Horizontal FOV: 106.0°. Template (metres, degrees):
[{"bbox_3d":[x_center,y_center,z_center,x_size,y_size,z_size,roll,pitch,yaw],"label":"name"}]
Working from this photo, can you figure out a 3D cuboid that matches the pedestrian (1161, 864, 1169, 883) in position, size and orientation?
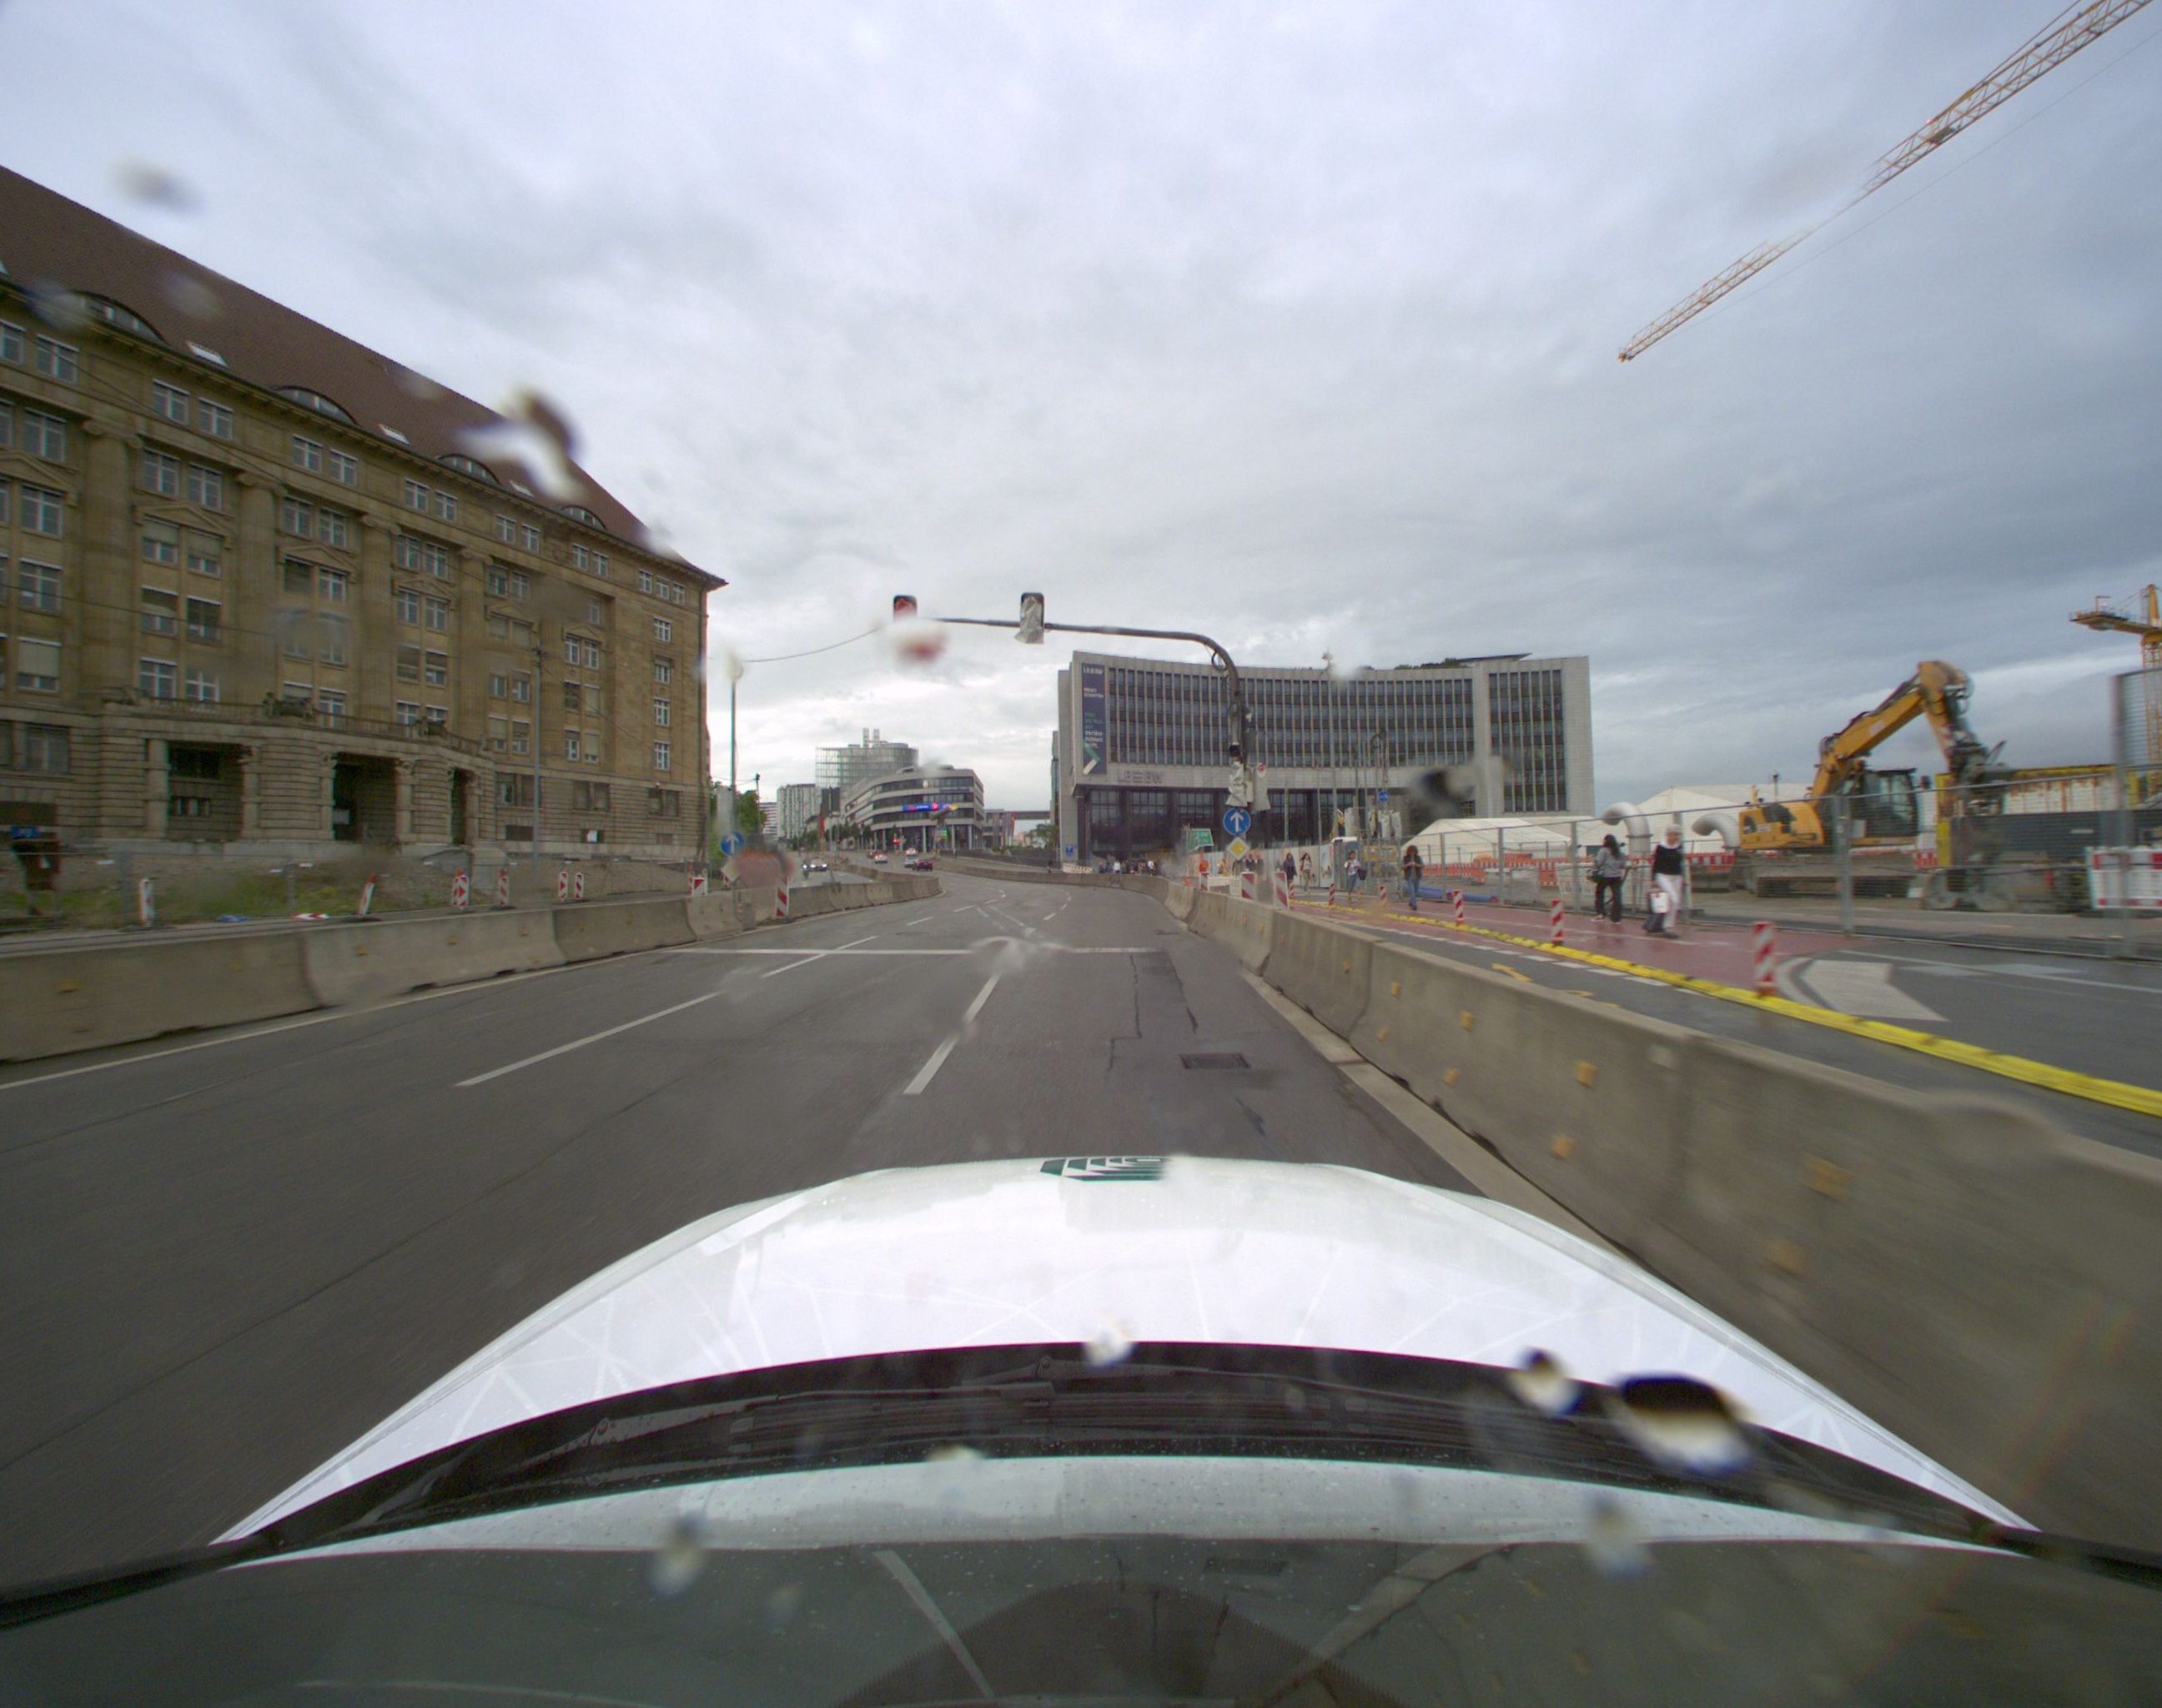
[{"bbox_3d":[7.619,1.766,73.825,0.623,1.705,0.646,-1,-1,-1],"label":"pedestrian"}]

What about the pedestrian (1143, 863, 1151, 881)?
[{"bbox_3d":[6.312,1.706,78.268,0.515,1.705,0.568,0,-1,-37],"label":"pedestrian"}]

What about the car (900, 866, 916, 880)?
[{"bbox_3d":[-24.056,2.671,113.192,1.744,1.876,3.753,-1,-1,-18],"label":"car"}]

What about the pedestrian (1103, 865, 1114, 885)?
[{"bbox_3d":[2.190,1.672,65.207,0.659,1.642,0.820,-1,-1,-12],"label":"pedestrian"}]

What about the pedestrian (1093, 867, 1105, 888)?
[{"bbox_3d":[1.458,1.866,65.067,0.751,1.642,0.820,-1,-1,-12],"label":"pedestrian"}]

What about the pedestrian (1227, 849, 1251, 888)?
[{"bbox_3d":[7.542,0.702,38.954,0.817,1.828,1.110,-2,-2,-2],"label":"pedestrian"}]

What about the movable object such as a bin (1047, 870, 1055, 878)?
[{"bbox_3d":[-3.287,2.222,89.546,0.600,0.934,0.737,0,-2,-21],"label":"movable object such as a bin"}]

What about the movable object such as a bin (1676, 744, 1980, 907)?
[{"bbox_3d":[18.210,-0.580,20.388,3.900,3.492,4.372,-2,-1,14],"label":"movable object such as a bin"}]

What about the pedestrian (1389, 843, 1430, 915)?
[{"bbox_3d":[8.706,0.658,21.593,0.688,1.862,0.810,-1,-1,-3],"label":"pedestrian"}]

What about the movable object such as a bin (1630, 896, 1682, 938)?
[{"bbox_3d":[9.220,1.003,13.070,0.432,0.624,0.534,-1,-1,-3],"label":"movable object such as a bin"}]

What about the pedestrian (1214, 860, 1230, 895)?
[{"bbox_3d":[7.755,1.295,44.833,0.730,1.854,0.831,-1,-2,-1],"label":"pedestrian"}]

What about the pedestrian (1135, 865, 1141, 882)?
[{"bbox_3d":[5.609,1.931,79.951,0.445,1.705,0.648,-1,-1,9],"label":"pedestrian"}]

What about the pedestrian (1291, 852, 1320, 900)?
[{"bbox_3d":[8.967,0.886,32.556,0.777,1.862,1.057,-1,-1,-3],"label":"pedestrian"}]

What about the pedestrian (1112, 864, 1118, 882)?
[{"bbox_3d":[3.265,1.795,78.664,0.447,1.705,0.646,-1,-1,-4],"label":"pedestrian"}]

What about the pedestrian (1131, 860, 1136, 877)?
[{"bbox_3d":[5.148,1.442,80.047,0.445,1.705,0.648,-1,-1,9],"label":"pedestrian"}]

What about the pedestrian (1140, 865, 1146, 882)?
[{"bbox_3d":[6.050,1.914,79.630,0.445,1.705,0.648,-1,-1,9],"label":"pedestrian"}]

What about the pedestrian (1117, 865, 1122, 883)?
[{"bbox_3d":[3.732,1.947,78.712,0.447,1.705,0.646,-1,-1,-4],"label":"pedestrian"}]

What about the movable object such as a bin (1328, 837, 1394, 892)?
[{"bbox_3d":[21.467,0.835,62.543,3.099,4.030,3.669,0,-2,-22],"label":"movable object such as a bin"}]

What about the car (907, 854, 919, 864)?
[{"bbox_3d":[-31.308,0.876,151.910,1.996,1.804,4.246,0,-1,-13],"label":"car"}]

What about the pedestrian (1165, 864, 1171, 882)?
[{"bbox_3d":[8.095,1.749,75.721,0.498,1.705,0.732,-1,-1,-1],"label":"pedestrian"}]

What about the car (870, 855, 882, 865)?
[{"bbox_3d":[-37.314,1.097,147.980,1.996,1.804,4.246,0,-1,-13],"label":"car"}]

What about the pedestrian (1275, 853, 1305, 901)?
[{"bbox_3d":[8.173,0.889,31.938,0.868,1.862,0.947,-1,-1,-3],"label":"pedestrian"}]

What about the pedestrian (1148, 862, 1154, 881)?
[{"bbox_3d":[6.603,1.630,76.961,0.527,1.818,0.536,-1,-1,0],"label":"pedestrian"}]

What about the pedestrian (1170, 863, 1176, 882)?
[{"bbox_3d":[8.301,1.713,73.800,0.447,1.705,0.646,-1,-1,-1],"label":"pedestrian"}]

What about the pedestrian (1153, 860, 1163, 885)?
[{"bbox_3d":[6.426,1.550,67.884,0.780,2.014,0.864,-1,-1,7],"label":"pedestrian"}]

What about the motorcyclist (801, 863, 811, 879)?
[{"bbox_3d":[-24.697,1.533,73.172,0.802,1.451,0.819,0,-2,-25],"label":"motorcyclist"}]

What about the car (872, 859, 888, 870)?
[{"bbox_3d":[-31.346,1.653,127.174,1.750,1.506,3.723,0,-2,-25],"label":"car"}]

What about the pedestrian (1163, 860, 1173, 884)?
[{"bbox_3d":[7.226,1.508,67.619,0.780,2.014,0.864,-1,-1,7],"label":"pedestrian"}]

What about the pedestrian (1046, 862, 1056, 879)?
[{"bbox_3d":[-3.299,1.825,90.127,0.759,1.790,1.050,0,-2,-20],"label":"pedestrian"}]

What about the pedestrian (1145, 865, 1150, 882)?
[{"bbox_3d":[6.494,1.908,79.370,0.445,1.705,0.648,-1,-1,9],"label":"pedestrian"}]

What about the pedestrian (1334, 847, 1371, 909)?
[{"bbox_3d":[8.385,0.741,25.173,0.777,1.862,0.948,-1,-1,-3],"label":"pedestrian"}]

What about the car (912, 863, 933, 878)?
[{"bbox_3d":[-18.067,1.895,92.730,1.681,1.508,3.715,1,-4,-23],"label":"car"}]

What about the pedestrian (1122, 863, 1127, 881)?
[{"bbox_3d":[4.191,1.710,78.779,0.452,1.705,0.646,-1,-1,-4],"label":"pedestrian"}]

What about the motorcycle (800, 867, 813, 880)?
[{"bbox_3d":[-24.612,1.774,72.968,0.873,1.148,2.137,0,-1,-24],"label":"motorcycle"}]

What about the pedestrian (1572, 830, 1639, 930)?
[{"bbox_3d":[9.967,0.487,15.505,0.785,1.862,0.682,-1,-1,-3],"label":"pedestrian"}]

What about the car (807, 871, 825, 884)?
[{"bbox_3d":[-31.441,2.838,96.740,1.609,1.352,3.722,1,-4,-25],"label":"car"}]

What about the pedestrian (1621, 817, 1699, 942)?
[{"bbox_3d":[8.899,0.391,12.545,0.663,1.862,0.682,-1,-1,-3],"label":"pedestrian"}]

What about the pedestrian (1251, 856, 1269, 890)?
[{"bbox_3d":[10.277,1.084,46.767,0.777,1.862,0.810,-2,-1,-3],"label":"pedestrian"}]

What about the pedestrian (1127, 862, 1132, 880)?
[{"bbox_3d":[4.683,1.670,78.828,0.447,1.705,0.646,-1,-1,-4],"label":"pedestrian"}]

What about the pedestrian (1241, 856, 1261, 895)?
[{"bbox_3d":[8.306,1.031,39.783,0.777,1.862,0.810,-1,-1,-3],"label":"pedestrian"}]
